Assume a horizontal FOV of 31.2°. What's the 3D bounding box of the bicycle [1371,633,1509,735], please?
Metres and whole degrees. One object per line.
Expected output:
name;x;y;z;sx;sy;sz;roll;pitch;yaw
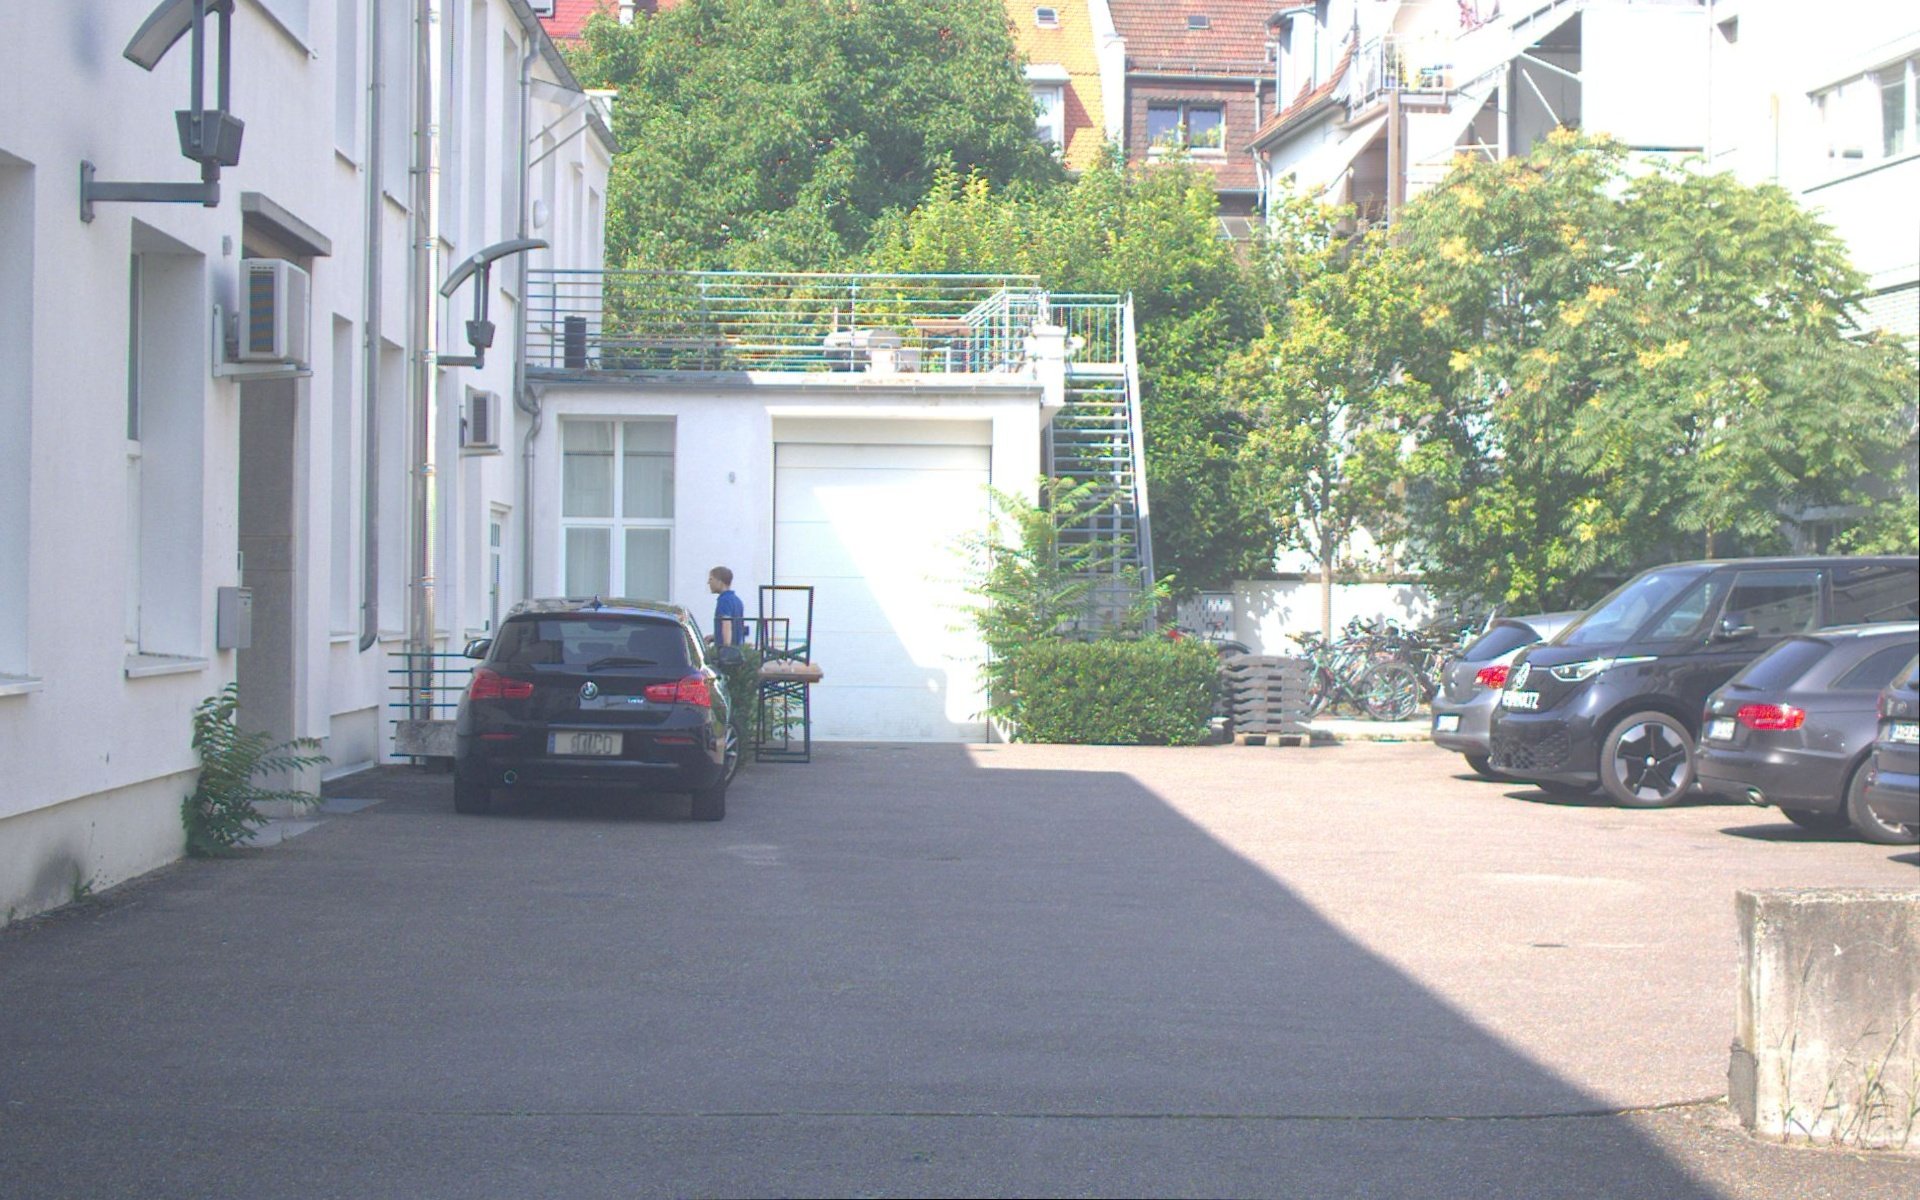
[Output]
bicycle;5.770;1.006;41.335;1.624;1.210;0.327;0;0;14

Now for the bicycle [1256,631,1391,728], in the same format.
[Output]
bicycle;4.553;0.998;43.100;1.623;1.210;0.424;0;0;-6

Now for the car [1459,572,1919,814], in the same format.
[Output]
car;6.350;0.730;26.800;4.499;1.788;1.883;1;-1;-10

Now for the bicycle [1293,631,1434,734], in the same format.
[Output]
bicycle;4.771;0.972;40.681;1.623;1.210;0.327;0;0;1

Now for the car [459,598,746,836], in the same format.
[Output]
car;-2.367;0.757;23.573;1.688;1.454;3.923;1;-1;-3

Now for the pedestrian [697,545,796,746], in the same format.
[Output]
pedestrian;-2.179;0.467;35.265;0.913;2.007;0.935;1;-1;-1

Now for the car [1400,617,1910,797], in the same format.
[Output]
car;5.963;0.916;29.679;3.931;1.477;1.775;1;-1;-10

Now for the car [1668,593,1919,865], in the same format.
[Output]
car;6.940;0.859;22.600;4.116;1.686;1.771;1;-1;-3

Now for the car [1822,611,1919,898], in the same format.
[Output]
car;7.180;0.909;19.782;3.861;1.583;1.880;2;-1;-6

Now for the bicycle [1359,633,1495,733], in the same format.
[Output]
bicycle;5.736;1.016;42.194;1.624;1.210;0.424;0;0;12

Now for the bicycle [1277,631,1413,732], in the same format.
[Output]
bicycle;4.680;0.984;41.790;1.624;1.210;0.327;0;0;12

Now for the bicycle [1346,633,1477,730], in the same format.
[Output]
bicycle;5.749;1.037;43.798;1.624;1.210;0.424;0;0;12

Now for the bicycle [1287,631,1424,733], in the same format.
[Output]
bicycle;4.764;0.982;41.426;1.623;1.210;0.327;0;0;9

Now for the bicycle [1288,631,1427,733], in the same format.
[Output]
bicycle;4.736;0.975;40.975;1.623;1.210;0.327;0;0;1

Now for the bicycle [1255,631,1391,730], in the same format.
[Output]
bicycle;4.480;0.988;42.465;1.623;1.210;0.424;0;0;-1

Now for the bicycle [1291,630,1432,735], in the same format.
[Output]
bicycle;4.710;0.967;40.359;1.623;1.210;0.327;0;0;1
